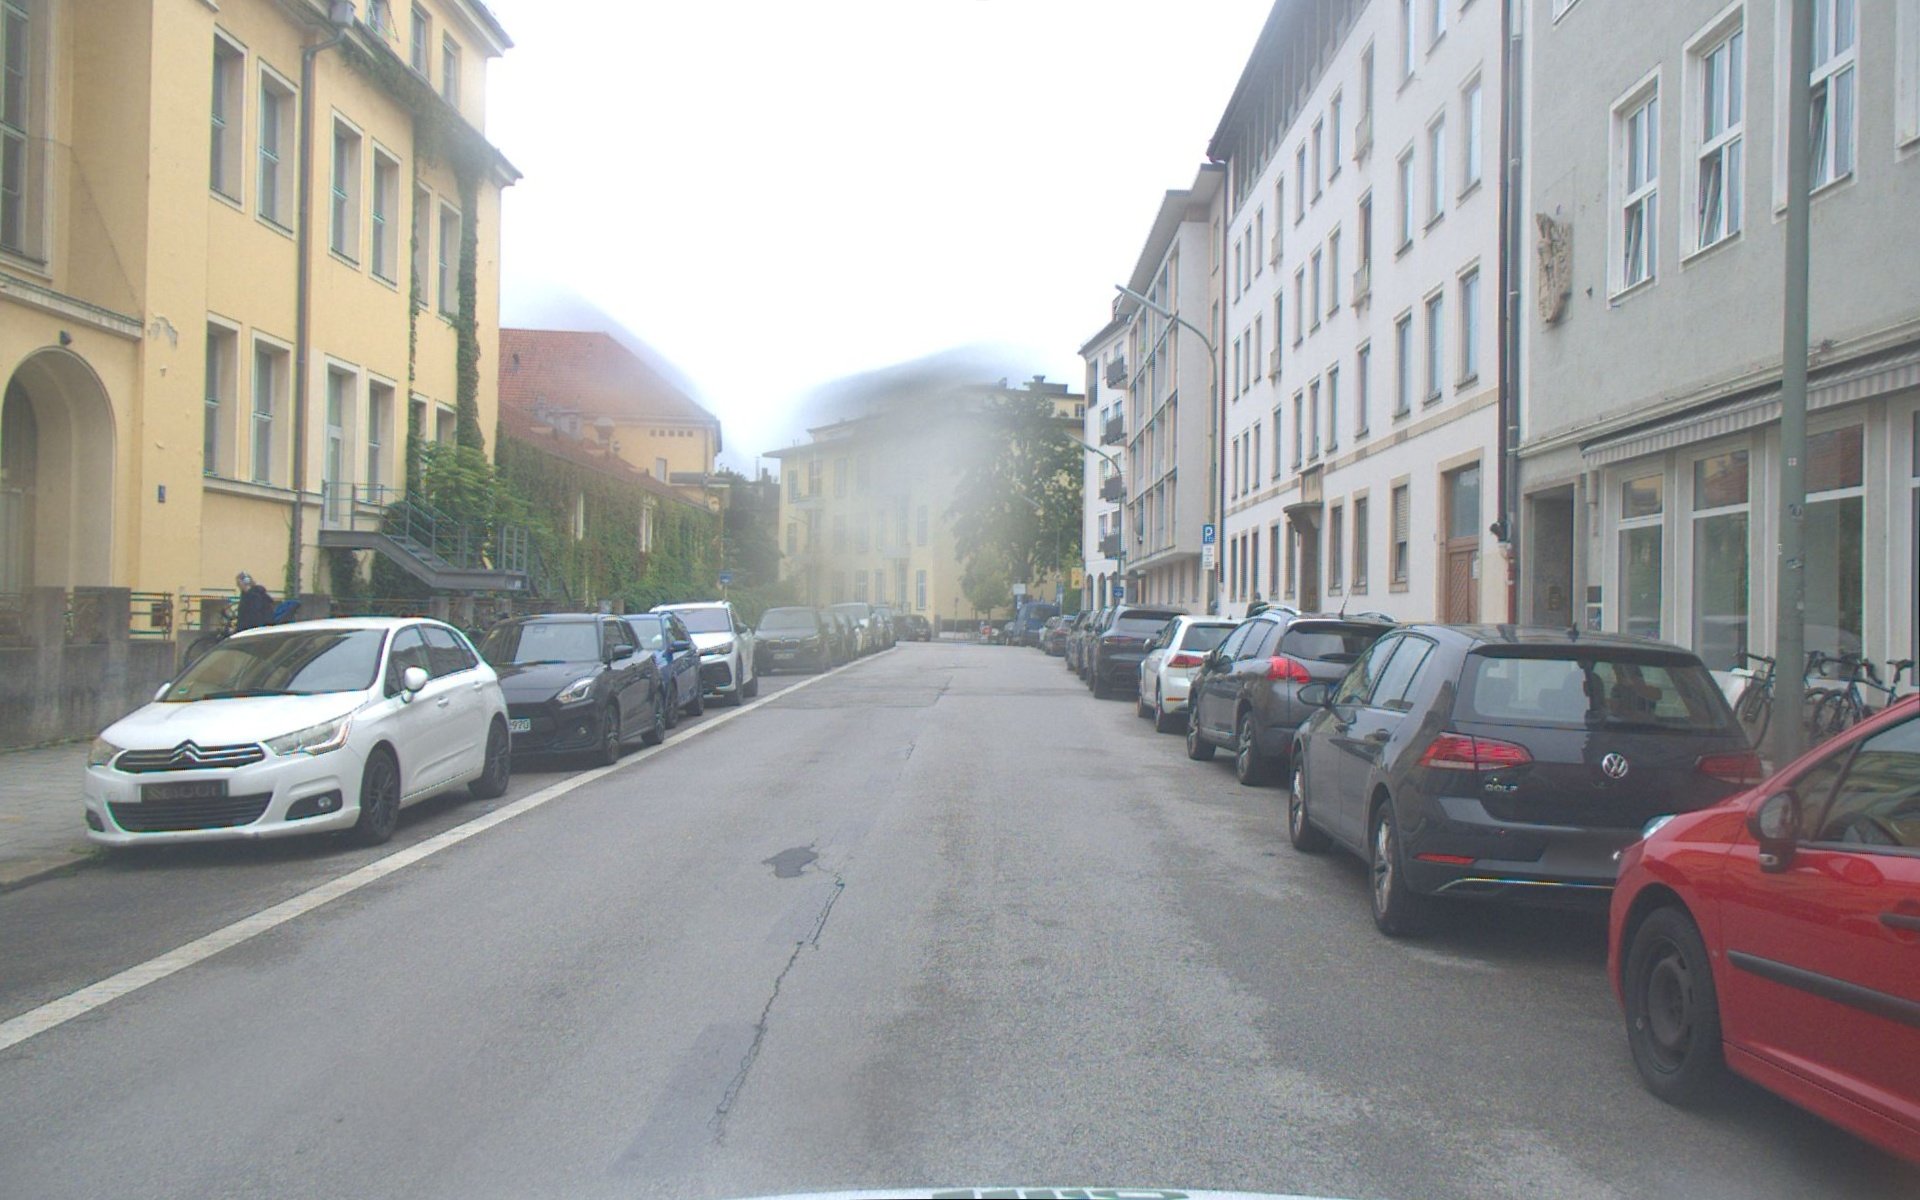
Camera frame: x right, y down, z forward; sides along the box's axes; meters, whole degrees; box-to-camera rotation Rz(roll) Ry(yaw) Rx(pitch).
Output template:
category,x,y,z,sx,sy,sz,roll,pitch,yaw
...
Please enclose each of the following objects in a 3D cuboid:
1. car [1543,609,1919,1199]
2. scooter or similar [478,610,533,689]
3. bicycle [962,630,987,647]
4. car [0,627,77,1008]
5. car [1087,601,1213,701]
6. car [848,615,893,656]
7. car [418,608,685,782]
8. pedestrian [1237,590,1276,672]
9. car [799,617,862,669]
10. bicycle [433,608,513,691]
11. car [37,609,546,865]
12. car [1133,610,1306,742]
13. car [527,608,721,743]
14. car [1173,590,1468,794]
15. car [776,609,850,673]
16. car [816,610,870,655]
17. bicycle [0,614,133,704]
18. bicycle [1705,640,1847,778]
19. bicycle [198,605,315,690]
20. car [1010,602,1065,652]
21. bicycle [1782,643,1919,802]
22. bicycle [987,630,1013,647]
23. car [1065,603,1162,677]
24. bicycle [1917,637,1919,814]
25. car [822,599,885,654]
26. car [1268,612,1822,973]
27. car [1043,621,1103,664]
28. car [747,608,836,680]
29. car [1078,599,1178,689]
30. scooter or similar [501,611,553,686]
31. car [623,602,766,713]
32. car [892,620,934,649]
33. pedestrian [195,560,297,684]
category,x,y,z,sx,sy,sz,roll,pitch,yaw
car,3.110,0.831,4.149,1.653,1.526,4.145,3,0,-2
scooter or similar,-8.284,0.885,30.177,0.548,1.393,1.501,0,-1,1
bicycle,1.084,2.904,125.093,1.891,1.222,0.592,1,-1,38
car,-4.543,0.838,4.539,1.757,1.454,4.663,-2,-1,-1
car,3.267,0.865,29.239,1.801,1.549,4.710,2,-1,2
car,-3.872,1.526,71.994,1.662,1.672,4.489,-2,-1,0
car,-4.117,0.908,17.348,1.664,1.523,4.149,-3,-1,1
pedestrian,6.603,0.700,36.897,0.708,1.794,0.905,1,-2,1
car,-3.954,1.307,50.980,1.571,1.455,4.251,-2,-1,0
bicycle,-8.264,0.830,28.161,0.667,1.352,2.113,1,-1,1
car,-4.544,0.848,12.120,1.748,1.457,4.652,-2,-1,1
car,3.339,0.925,22.051,1.638,1.454,4.531,3,0,1
car,-4.426,0.957,22.461,1.669,1.528,4.494,-4,-1,-1
car,3.266,0.773,15.856,1.672,1.620,4.359,3,0,-2
car,-4.029,1.116,45.909,1.689,1.658,4.465,-1,-1,-1
car,-3.942,1.097,56.239,1.559,1.466,4.018,-1,-1,-1
bicycle,-10.969,0.716,20.056,1.625,1.068,0.425,1,-1,-6
bicycle,7.659,0.991,15.611,0.376,1.178,1.949,1,0,0
bicycle,-10.976,0.735,25.818,1.592,1.290,0.527,0,-1,2
car,4.047,1.463,87.585,2.039,2.272,5.237,5,-3,-5
bicycle,7.418,0.964,13.619,0.387,1.197,1.815,1,-1,0
bicycle,2.993,2.857,123.872,1.881,1.222,0.596,1,-1,15
car,3.583,0.931,39.490,1.766,1.510,5.319,4,-1,0
bicycle,7.091,0.906,11.364,0.243,1.277,1.233,1,-1,-4
car,-3.919,0.993,61.699,1.848,1.923,4.774,-2,-1,2
car,2.882,0.828,9.192,1.652,1.426,4.365,2,0,2
car,4.104,1.521,60.580,1.710,1.412,4.952,3,-1,-1
car,-4.114,1.064,41.052,1.753,1.614,4.817,-2,-1,-1
car,3.404,0.884,34.237,1.611,1.617,4.634,4,-1,1
scooter or similar,-8.294,0.911,31.729,0.548,1.393,1.501,0,-1,1
car,-4.296,0.897,27.428,1.710,1.662,4.854,0,-1,-2
car,-3.563,2.566,124.191,1.737,1.907,4.352,6,-2,-21
pedestrian,-10.351,0.315,23.992,0.882,1.749,1.059,0,0,16
